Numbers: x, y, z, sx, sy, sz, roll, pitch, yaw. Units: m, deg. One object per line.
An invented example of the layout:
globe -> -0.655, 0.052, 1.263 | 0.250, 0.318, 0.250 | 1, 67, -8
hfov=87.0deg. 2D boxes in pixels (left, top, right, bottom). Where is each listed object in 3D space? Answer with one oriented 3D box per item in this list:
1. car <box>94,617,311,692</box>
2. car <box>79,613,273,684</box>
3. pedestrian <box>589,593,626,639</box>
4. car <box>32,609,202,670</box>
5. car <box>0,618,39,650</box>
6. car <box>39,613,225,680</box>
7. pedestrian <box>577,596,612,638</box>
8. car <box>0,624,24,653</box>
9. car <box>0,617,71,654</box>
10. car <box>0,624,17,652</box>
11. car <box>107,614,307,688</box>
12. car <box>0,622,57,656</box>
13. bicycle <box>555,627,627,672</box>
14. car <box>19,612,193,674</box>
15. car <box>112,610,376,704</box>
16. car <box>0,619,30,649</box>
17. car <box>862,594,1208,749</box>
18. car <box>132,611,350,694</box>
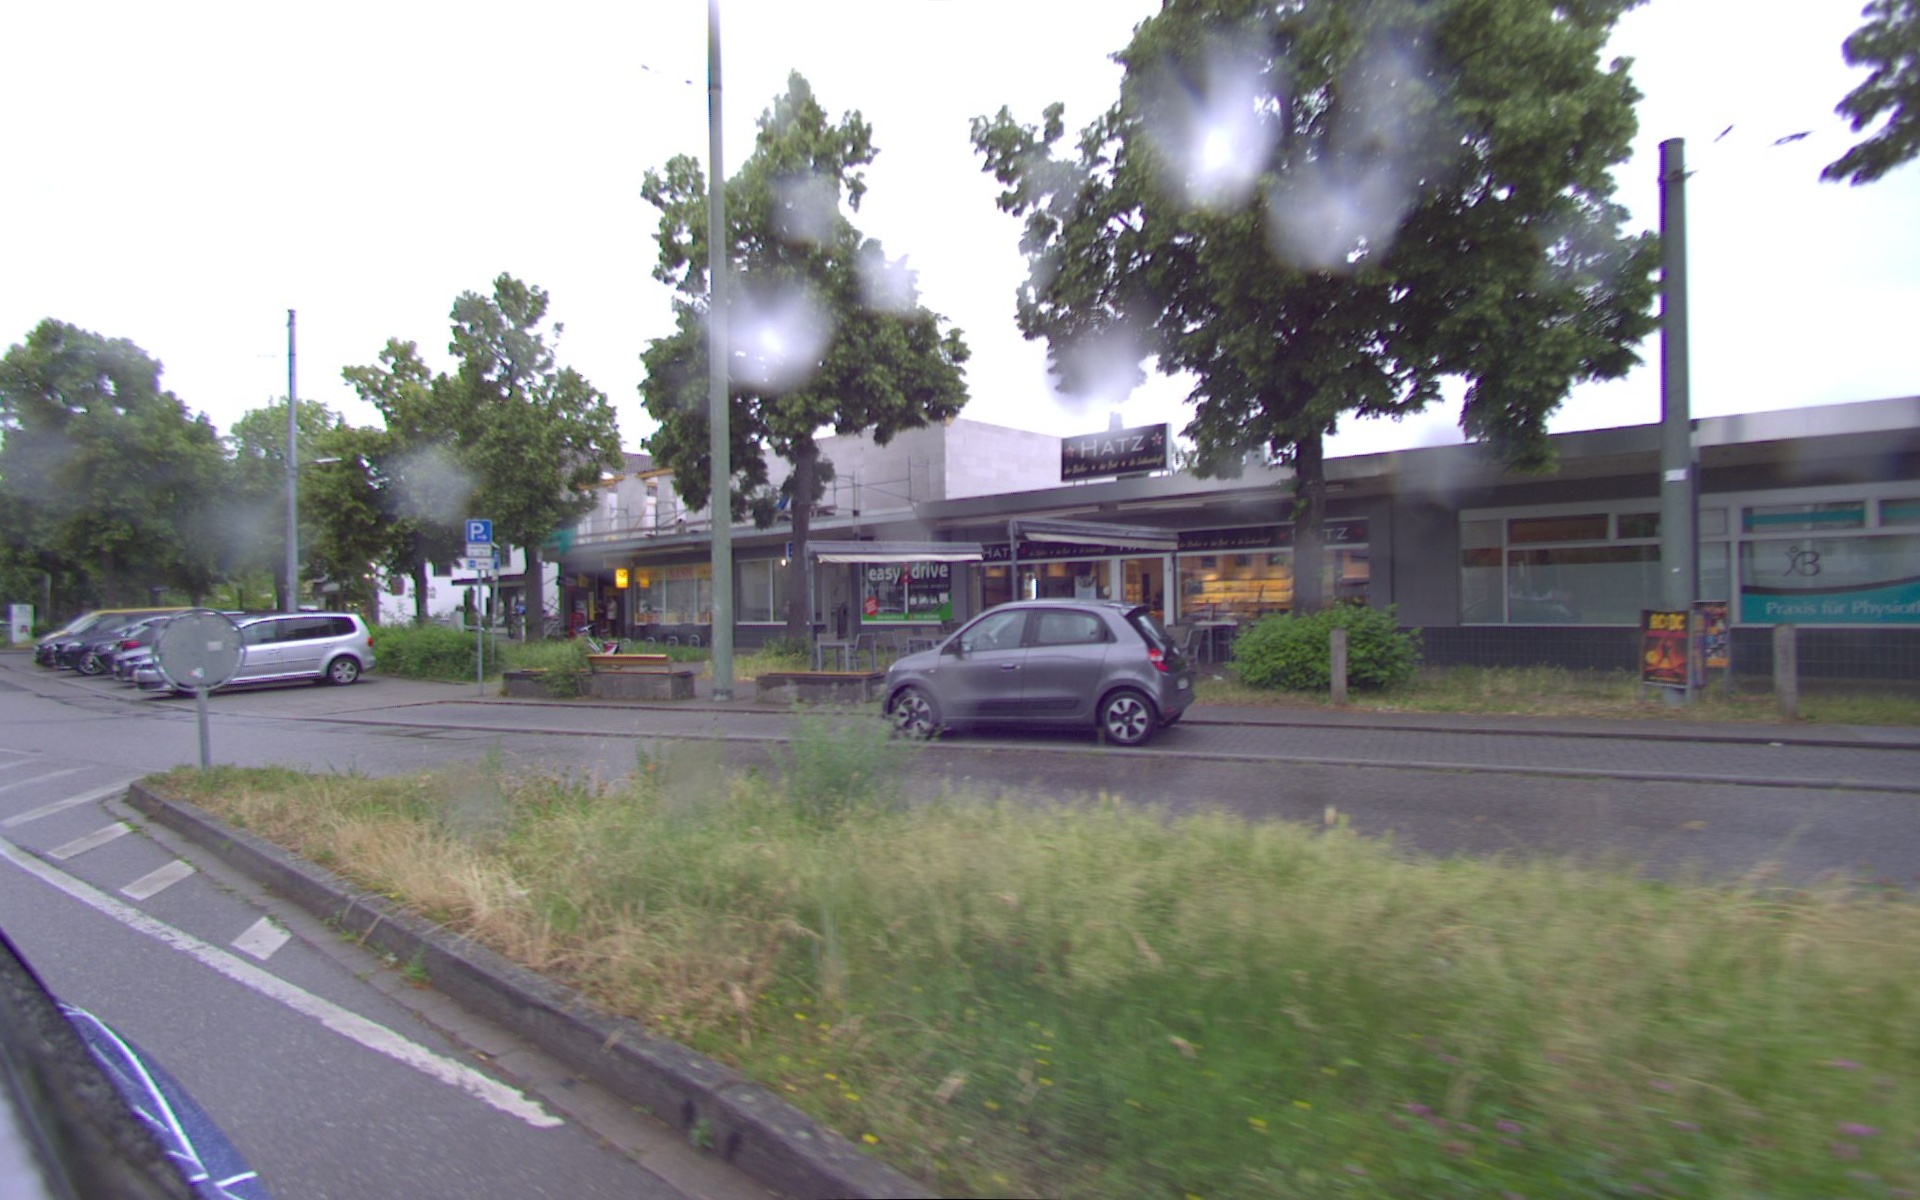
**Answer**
car -> -19.050, 1.310, 25.577 | 1.998, 1.583, 4.037 | -2, 0, 40
car -> -22.202, 1.330, 28.782 | 1.897, 1.722, 4.037 | -2, 0, 40
pedestrian -> -13.471, 0.599, 38.676 | 1.063, 1.727, 0.950 | 0, 0, -38
car -> -30.875, 1.395, 37.178 | 1.897, 1.957, 4.489 | -2, 0, 40
car -> -62.042, 2.255, 64.634 | 1.897, 1.957, 4.489 | -2, 0, 40
car -> -24.859, 1.344, 30.487 | 1.897, 1.722, 4.037 | -2, 0, 40
pedestrian -> -14.328, 0.650, 39.701 | 1.063, 1.596, 0.950 | 0, 0, -38
car -> -67.592, 2.705, 69.600 | 1.898, 1.957, 4.488 | -2, 0, 40
car -> -54.247, 2.041, 58.127 | 1.897, 1.957, 4.489 | -2, 0, 40
car -> -69.616, 2.760, 71.246 | 1.897, 1.957, 4.489 | -2, 0, 40
car -> -20.435, 1.326, 27.594 | 1.897, 1.722, 4.037 | -2, 0, 40
car -> -57.422, 2.383, 60.798 | 1.897, 1.957, 4.489 | -2, 0, 40
bicycle -> -9.105, 1.223, 24.958 | 1.740, 1.080, 0.589 | -1, -1, 24
car -> -29.096, 1.413, 34.586 | 1.897, 1.823, 4.248 | -2, 0, 40
car -> -15.415, 1.155, 21.969 | 1.998, 1.686, 4.280 | -2, 0, 40
car -> -64.761, 2.330, 66.952 | 1.897, 1.957, 4.489 | -2, 0, 40
car -> 0.855, 0.765, 11.553 | 3.601, 1.514, 1.540 | -2, 1, 24
car -> -17.056, 1.184, 24.134 | 1.792, 1.686, 3.895 | -2, 0, 40
